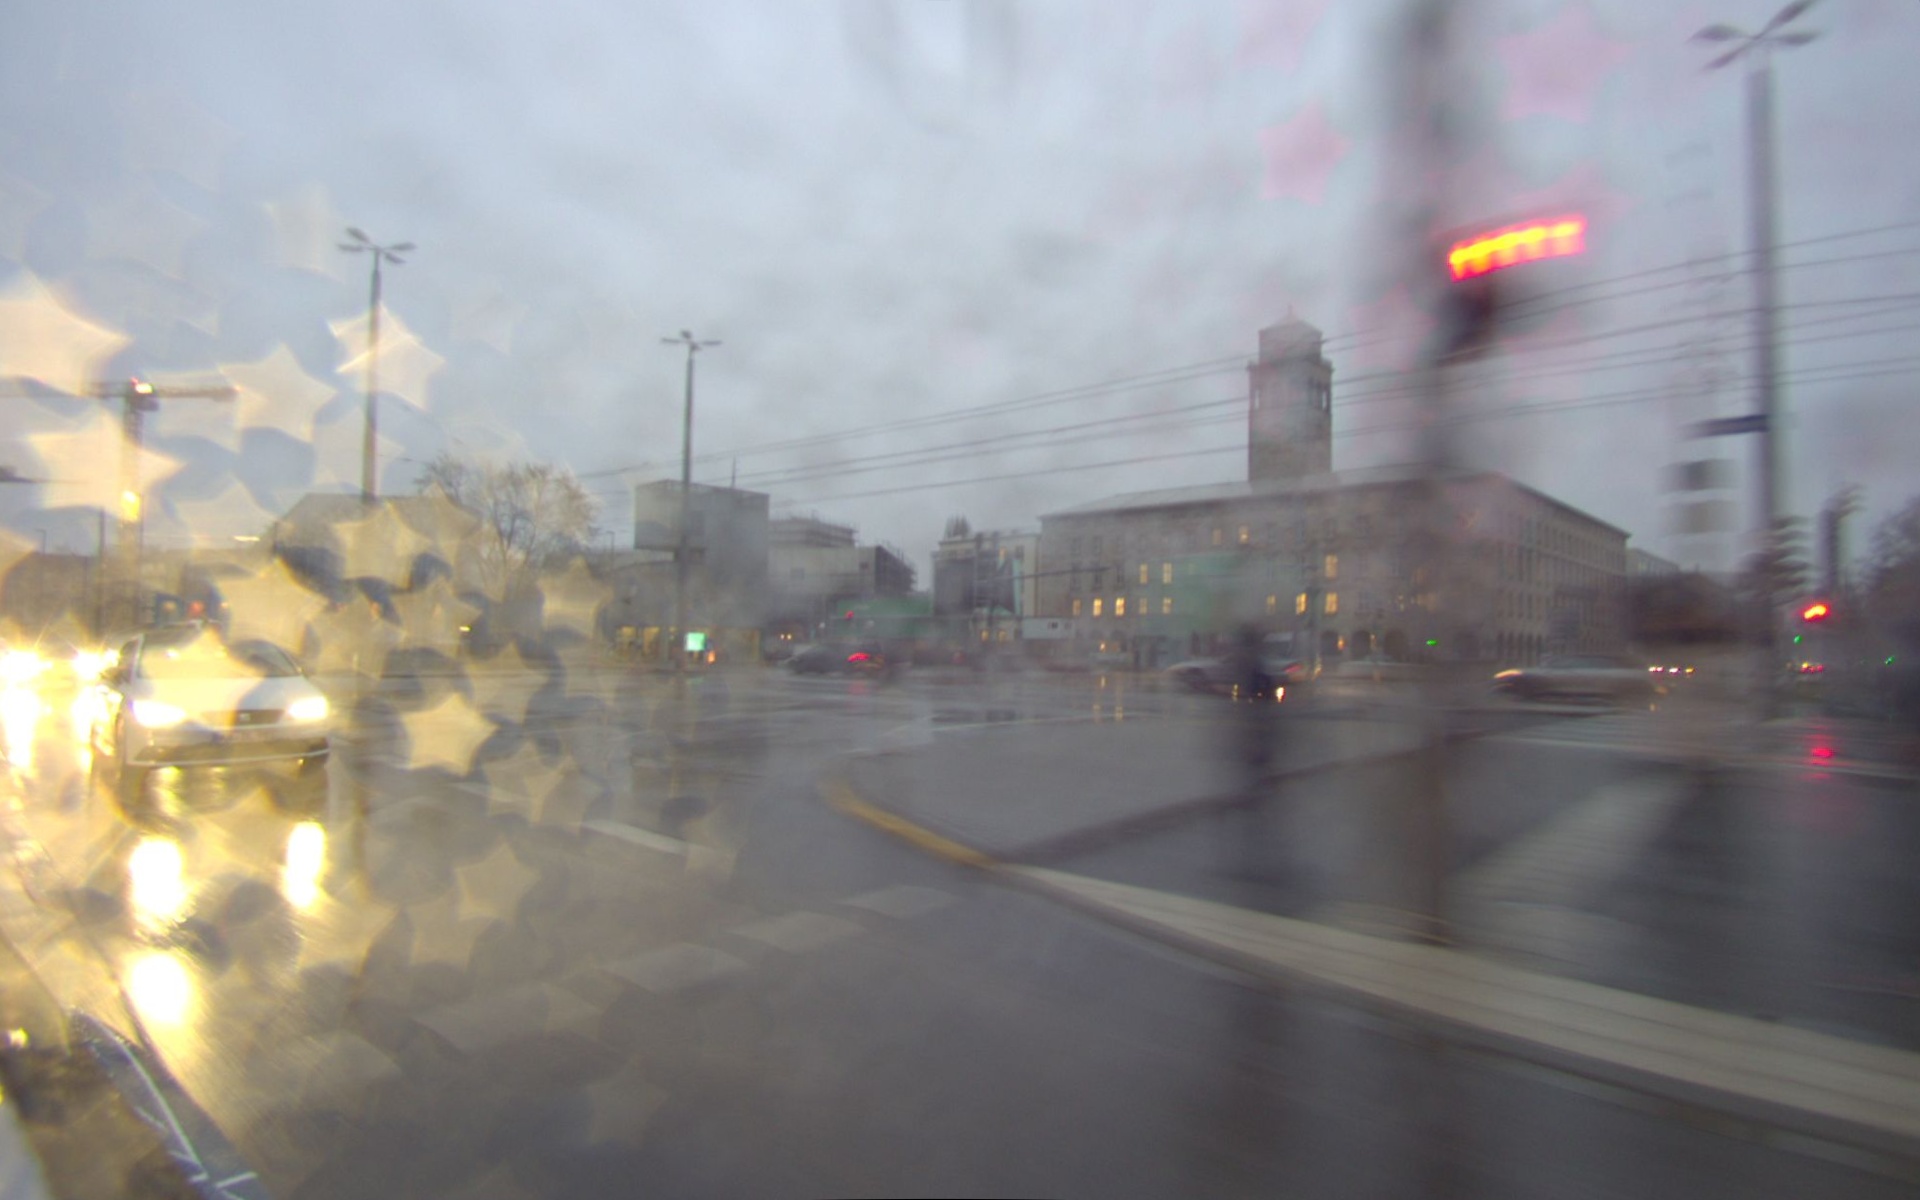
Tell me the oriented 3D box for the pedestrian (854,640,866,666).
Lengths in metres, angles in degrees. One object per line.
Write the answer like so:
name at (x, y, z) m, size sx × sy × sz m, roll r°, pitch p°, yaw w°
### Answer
pedestrian at (-6.579, 3.487, 66.510) m, size 0.645 × 1.678 × 0.743 m, roll 1°, pitch -3°, yaw -15°

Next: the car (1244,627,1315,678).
car at (17.642, 2.840, 55.804) m, size 2.000 × 2.732 × 4.377 m, roll -2°, pitch -3°, yaw 43°

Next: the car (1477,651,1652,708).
car at (17.662, 2.282, 29.704) m, size 4.255 × 1.470 × 1.978 m, roll -1°, pitch -2°, yaw 33°

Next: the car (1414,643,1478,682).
car at (22.713, 2.887, 47.242) m, size 1.672 × 1.732 × 3.551 m, roll -2°, pitch -3°, yaw 43°

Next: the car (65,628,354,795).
car at (-8.345, 1.078, 11.120) m, size 4.138 × 1.484 × 1.790 m, roll -2°, pitch -3°, yaw 43°

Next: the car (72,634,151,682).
car at (-35.746, 2.401, 42.601) m, size 3.997 × 1.896 × 1.927 m, roll -2°, pitch -2°, yaw 41°

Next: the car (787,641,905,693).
car at (-4.867, 2.777, 42.889) m, size 4.775 × 2.029 × 1.979 m, roll -1°, pitch -2°, yaw 31°

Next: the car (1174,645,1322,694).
car at (9.537, 2.260, 33.533) m, size 4.418 × 1.492 × 1.981 m, roll -1°, pitch -2°, yaw 28°

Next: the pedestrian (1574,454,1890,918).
pedestrian at (4.080, 0.424, 5.480) m, size 0.948 × 2.224 × 1.048 m, roll 0°, pitch -2°, yaw 12°

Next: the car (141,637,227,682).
car at (-28.666, 2.157, 37.358) m, size 3.926 × 1.541 × 1.777 m, roll -2°, pitch -2°, yaw 41°

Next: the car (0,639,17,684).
car at (-38.443, 2.376, 39.525) m, size 3.983 × 1.674 × 1.844 m, roll -1°, pitch -3°, yaw 39°

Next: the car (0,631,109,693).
car at (-26.704, 1.746, 29.747) m, size 3.998 × 1.696 × 1.973 m, roll -2°, pitch -2°, yaw 41°

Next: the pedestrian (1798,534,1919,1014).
pedestrian at (3.790, 0.640, 3.888) m, size 0.656 × 1.748 × 0.607 m, roll 1°, pitch -1°, yaw -15°

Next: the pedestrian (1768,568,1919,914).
pedestrian at (5.063, 0.716, 5.456) m, size 0.757 × 1.727 × 0.857 m, roll 0°, pitch -2°, yaw 12°

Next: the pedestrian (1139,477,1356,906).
pedestrian at (1.644, 0.474, 5.749) m, size 1.013 × 2.162 × 0.897 m, roll -1°, pitch -2°, yaw 28°
